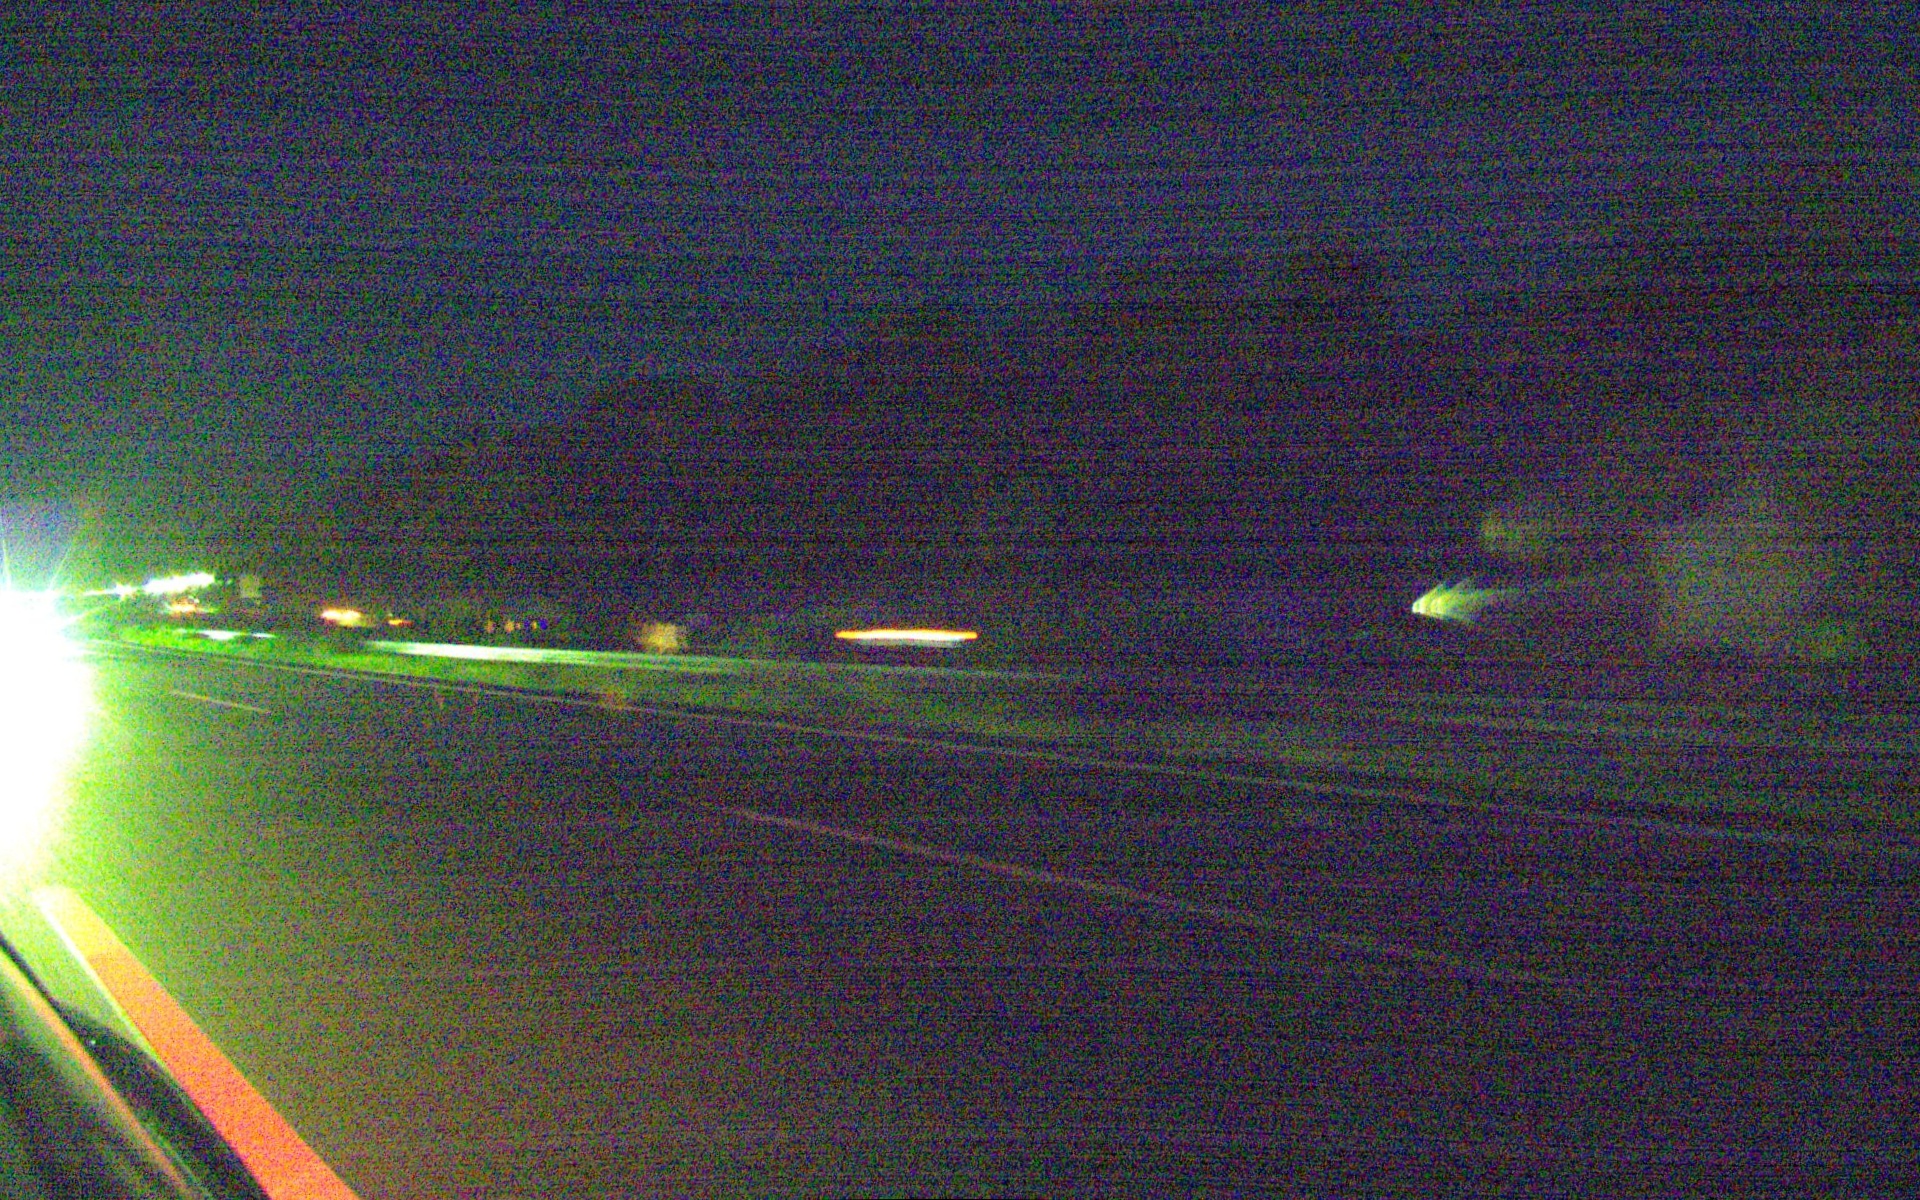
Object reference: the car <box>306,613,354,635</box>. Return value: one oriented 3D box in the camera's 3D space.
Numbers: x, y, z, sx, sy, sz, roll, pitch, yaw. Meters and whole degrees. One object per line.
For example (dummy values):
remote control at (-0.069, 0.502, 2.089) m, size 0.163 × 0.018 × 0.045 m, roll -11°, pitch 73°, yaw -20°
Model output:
car at (-45.100, 1.675, 72.398) m, size 4.000 × 1.519 × 1.972 m, roll -1°, pitch -1°, yaw 43°

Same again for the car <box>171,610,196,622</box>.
car at (-103.961, 2.165, 135.440) m, size 4.315 × 1.519 × 1.972 m, roll 0°, pitch -1°, yaw 43°

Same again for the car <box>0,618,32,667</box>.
car at (-31.326, 1.353, 32.704) m, size 1.806 × 1.423 × 4.006 m, roll -1°, pitch 1°, yaw -41°

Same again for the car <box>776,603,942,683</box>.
car at (-2.412, 0.929, 23.606) m, size 3.998 × 1.610 × 1.520 m, roll 1°, pitch 2°, yaw 41°

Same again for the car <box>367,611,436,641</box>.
car at (-28.949, 1.332, 52.431) m, size 4.000 × 1.519 × 1.972 m, roll -1°, pitch -1°, yaw 43°
